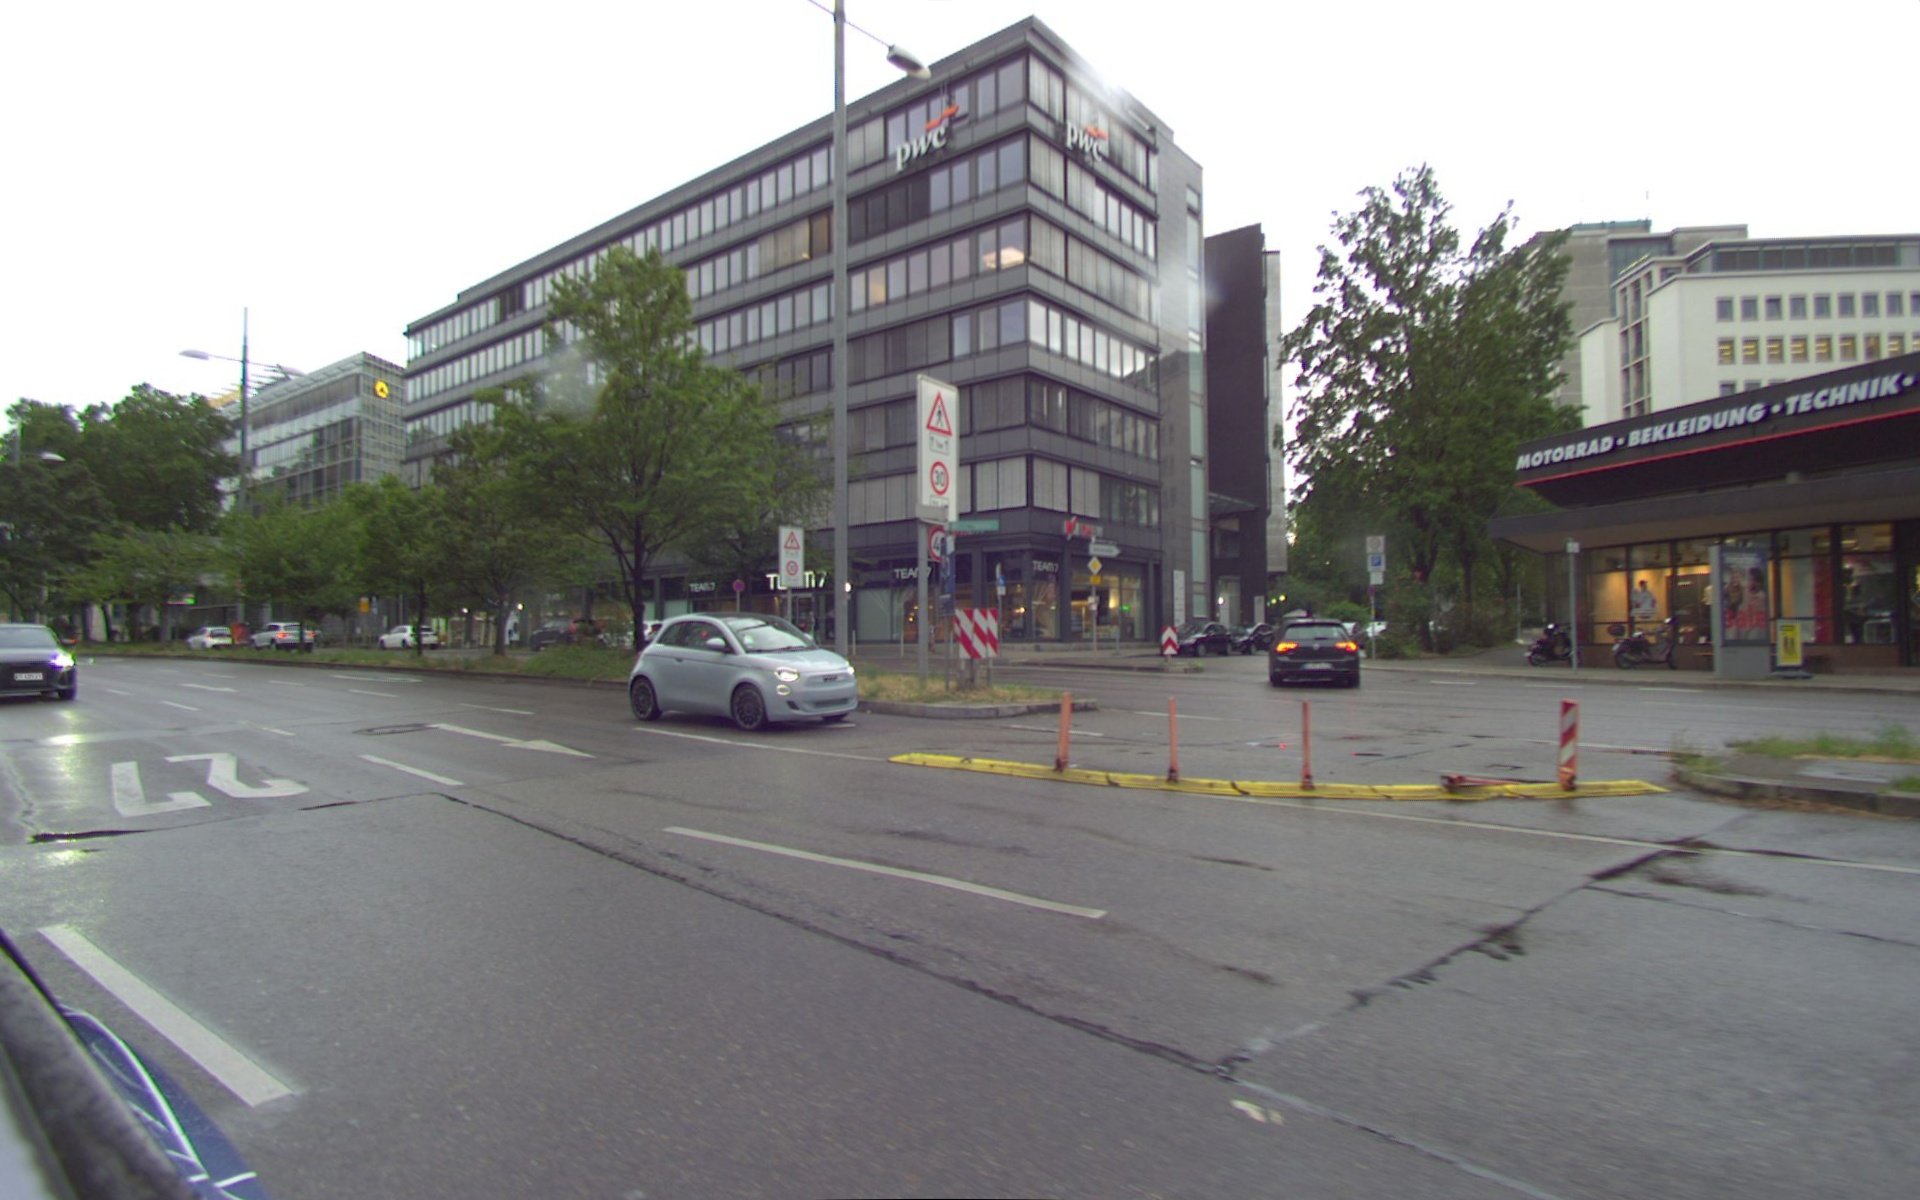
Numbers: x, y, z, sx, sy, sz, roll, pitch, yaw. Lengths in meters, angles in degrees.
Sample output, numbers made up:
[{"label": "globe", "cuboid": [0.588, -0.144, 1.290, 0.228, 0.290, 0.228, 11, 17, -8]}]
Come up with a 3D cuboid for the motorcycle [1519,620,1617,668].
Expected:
[{"label": "motorcycle", "cuboid": [18.340, 1.311, 30.536, 2.774, 1.343, 0.725, -1, -1, -13]}]

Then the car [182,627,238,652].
[{"label": "car", "cuboid": [-44.929, 2.365, 60.630, 4.077, 1.442, 1.667, -2, -2, 37]}]

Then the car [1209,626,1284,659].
[{"label": "car", "cuboid": [12.946, 1.886, 45.633, 1.845, 1.298, 3.948, -1, -1, 39]}]

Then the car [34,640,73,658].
[{"label": "car", "cuboid": [-81.980, 4.421, 91.482, 4.293, 1.487, 1.792, -2, -2, 37]}]

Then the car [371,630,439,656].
[{"label": "car", "cuboid": [-32.472, 2.499, 59.174, 4.301, 1.455, 1.793, -2, -1, 36]}]

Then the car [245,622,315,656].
[{"label": "car", "cuboid": [-36.910, 2.094, 54.877, 4.485, 1.741, 1.721, -2, -1, 36]}]

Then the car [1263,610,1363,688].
[{"label": "car", "cuboid": [7.701, 0.995, 22.162, 1.830, 1.461, 4.659, -2, 0, 19]}]

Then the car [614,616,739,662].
[{"label": "car", "cuboid": [-10.331, 1.411, 36.761, 4.471, 1.556, 1.977, -2, -2, 34]}]

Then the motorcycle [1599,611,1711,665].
[{"label": "motorcycle", "cuboid": [18.947, 1.008, 27.585, 2.844, 1.384, 0.806, -1, -1, -14]}]

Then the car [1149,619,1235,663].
[{"label": "car", "cuboid": [9.697, 1.659, 42.140, 1.998, 1.652, 3.948, -1, -1, 39]}]

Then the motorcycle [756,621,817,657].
[{"label": "motorcycle", "cuboid": [-7.230, 1.618, 42.146, 2.345, 1.404, 0.856, -1, 2, 13]}]

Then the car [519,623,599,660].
[{"label": "car", "cuboid": [-19.454, 1.970, 49.013, 4.307, 1.673, 1.790, -2, -1, 41]}]

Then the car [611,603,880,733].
[{"label": "car", "cuboid": [-3.066, 0.887, 14.183, 3.687, 1.585, 1.766, -2, -2, 39]}]

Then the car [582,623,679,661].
[{"label": "car", "cuboid": [-14.727, 1.848, 45.098, 4.767, 1.496, 1.791, -2, 1, 39]}]

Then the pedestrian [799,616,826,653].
[{"label": "pedestrian", "cuboid": [-6.709, 1.564, 46.132, 0.965, 1.650, 0.776, -2, -2, 39]}]

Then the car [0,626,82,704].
[{"label": "car", "cuboid": [-19.497, 1.281, 20.531, 4.284, 1.446, 1.916, -2, -2, 40]}]
